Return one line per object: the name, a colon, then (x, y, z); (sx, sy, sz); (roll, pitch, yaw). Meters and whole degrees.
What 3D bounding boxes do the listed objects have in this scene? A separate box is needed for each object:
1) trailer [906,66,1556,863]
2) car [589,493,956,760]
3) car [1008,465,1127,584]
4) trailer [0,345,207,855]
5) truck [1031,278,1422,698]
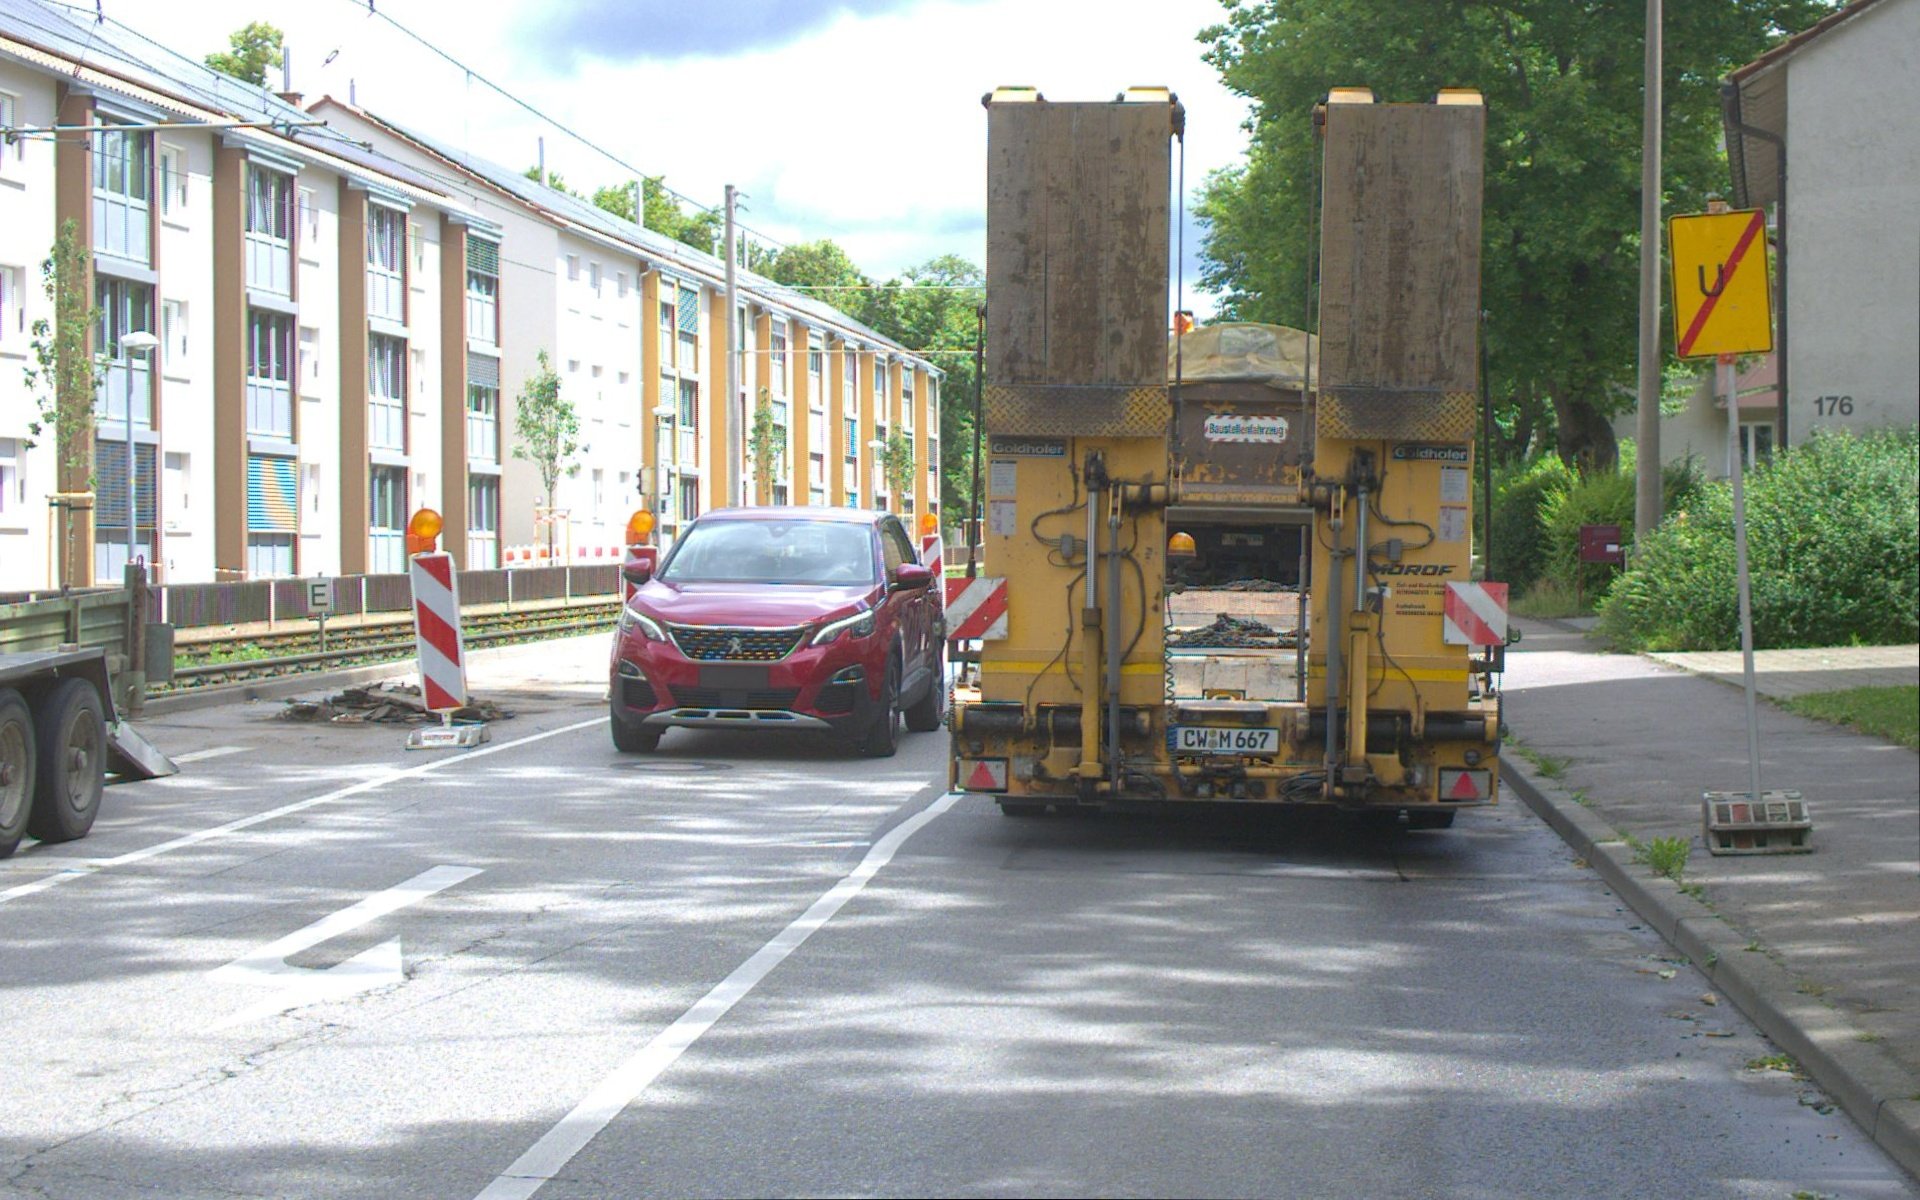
trailer: (1.591, -0.741, 20.981); (2.823, 3.512, 11.051); (2, 1, 4)
car: (-1.172, 0.121, 23.427); (1.843, 1.612, 4.241); (1, 1, 6)
car: (2.361, -1.627, 73.927); (1.994, 2.422, 6.320); (1, 1, 7)
trailer: (-5.488, -0.017, 14.773); (2.662, 2.206, 6.247); (1, 1, 5)
truck: (2.290, -0.956, 30.319); (2.917, 3.156, 7.679); (2, 1, 4)
